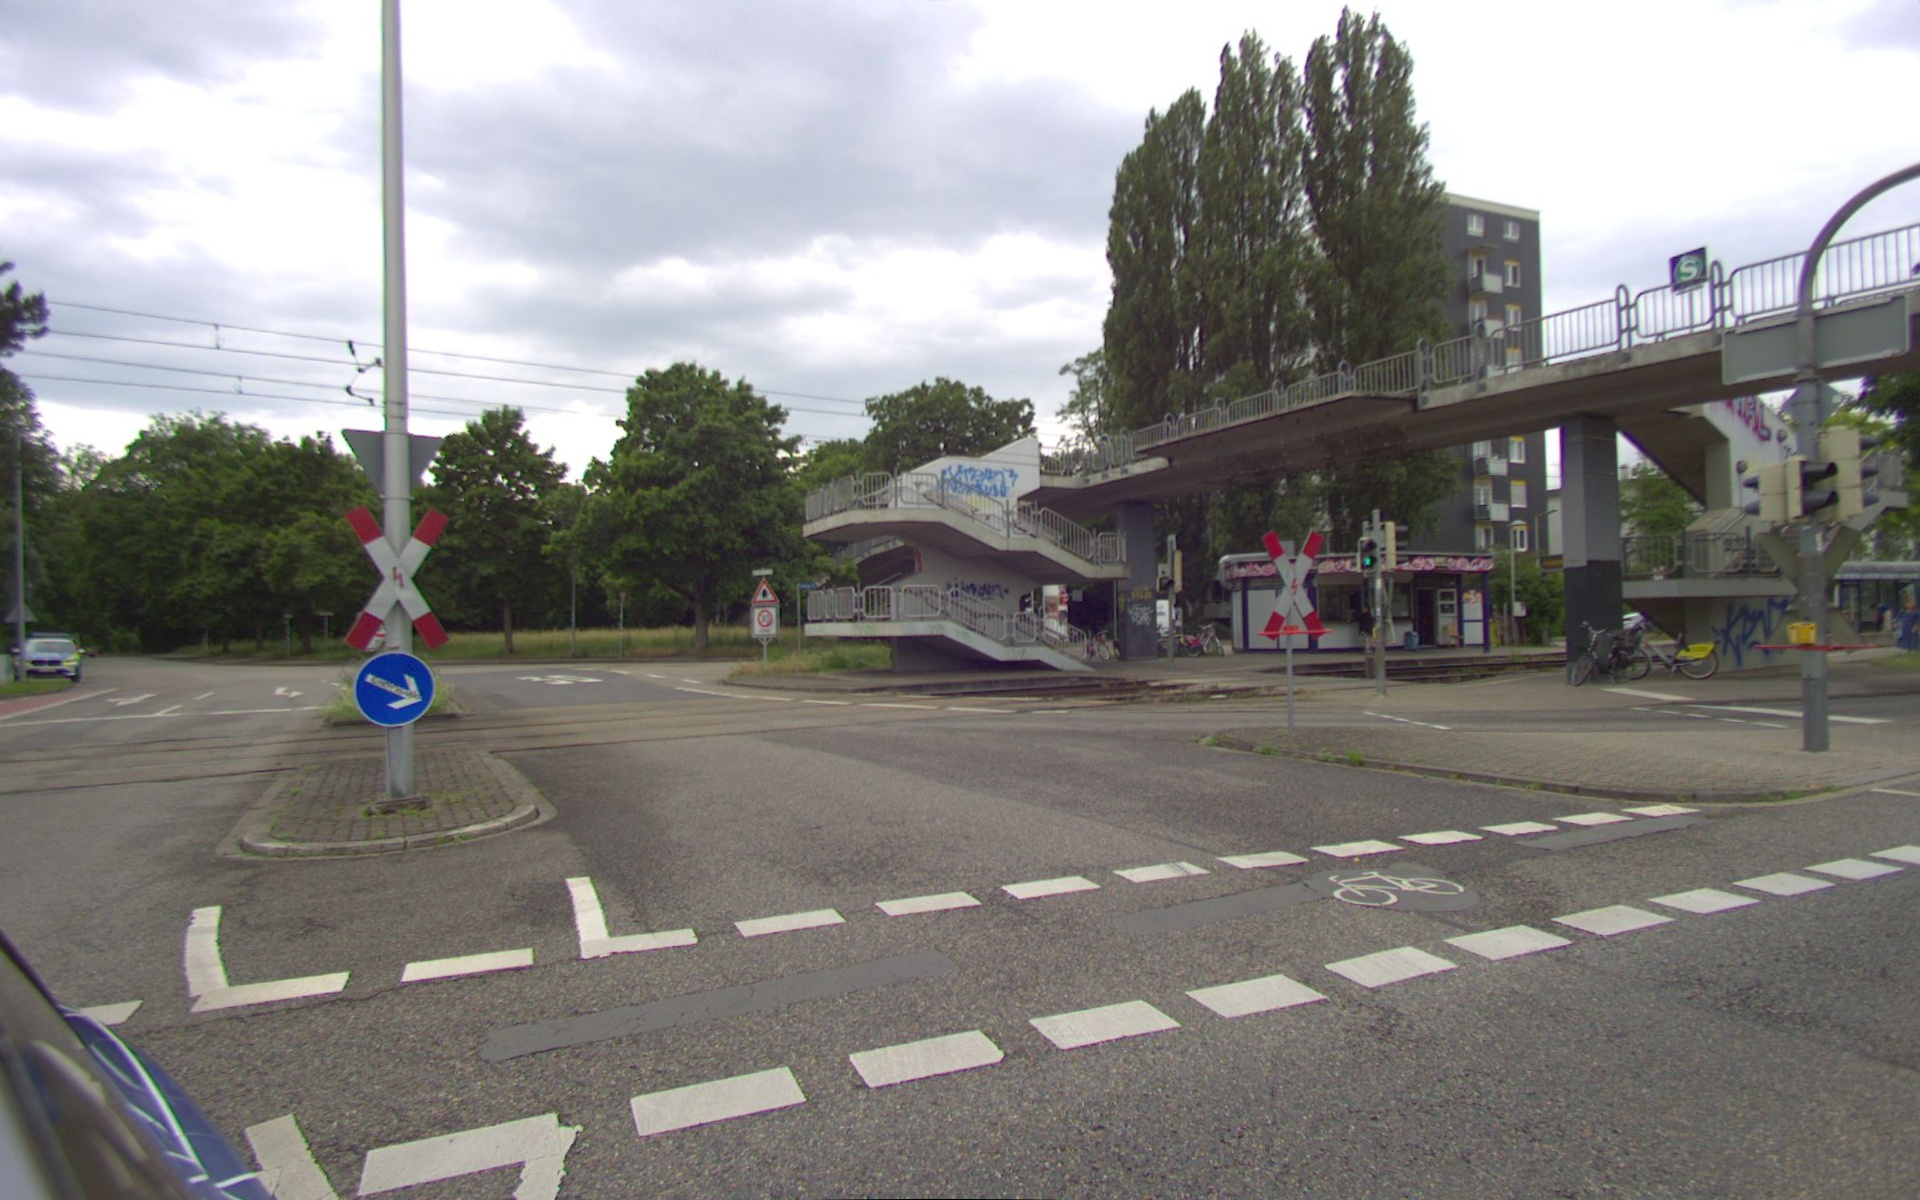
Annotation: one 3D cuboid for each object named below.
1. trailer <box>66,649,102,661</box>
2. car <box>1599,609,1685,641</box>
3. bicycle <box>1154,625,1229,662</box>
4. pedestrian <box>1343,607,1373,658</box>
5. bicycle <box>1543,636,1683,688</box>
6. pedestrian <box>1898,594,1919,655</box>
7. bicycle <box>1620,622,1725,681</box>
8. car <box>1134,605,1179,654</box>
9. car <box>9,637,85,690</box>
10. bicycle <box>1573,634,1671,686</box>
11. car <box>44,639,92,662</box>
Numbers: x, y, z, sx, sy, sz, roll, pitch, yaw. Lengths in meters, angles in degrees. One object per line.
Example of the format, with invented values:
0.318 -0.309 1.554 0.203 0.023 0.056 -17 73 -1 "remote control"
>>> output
-75.906 4.747 87.684 3.455 0.993 1.554 -2 -2 34 "trailer"
35.082 1.291 52.073 3.931 1.572 1.674 -1 -2 -21 "car"
7.576 1.413 33.076 2.747 1.123 0.993 0 -3 -43 "bicycle"
13.120 1.073 33.382 0.674 1.677 0.544 -1 -2 -25 "pedestrian"
12.237 1.154 18.978 2.368 0.895 0.559 -1 -1 -7 "bicycle"
24.896 0.628 26.347 0.329 1.576 0.562 0 -2 -31 "pedestrian"
13.757 0.993 19.589 1.610 1.103 0.347 -2 -2 33 "bicycle"
10.180 1.478 52.214 2.119 2.309 5.187 -2 0 12 "car"
-33.809 2.314 37.437 1.908 1.864 4.003 3 -4 -44 "car"
12.379 1.108 18.921 2.002 0.928 0.375 0 -2 -20 "bicycle"
-79.151 4.458 89.764 4.208 1.871 2.072 -2 -1 32 "car"
